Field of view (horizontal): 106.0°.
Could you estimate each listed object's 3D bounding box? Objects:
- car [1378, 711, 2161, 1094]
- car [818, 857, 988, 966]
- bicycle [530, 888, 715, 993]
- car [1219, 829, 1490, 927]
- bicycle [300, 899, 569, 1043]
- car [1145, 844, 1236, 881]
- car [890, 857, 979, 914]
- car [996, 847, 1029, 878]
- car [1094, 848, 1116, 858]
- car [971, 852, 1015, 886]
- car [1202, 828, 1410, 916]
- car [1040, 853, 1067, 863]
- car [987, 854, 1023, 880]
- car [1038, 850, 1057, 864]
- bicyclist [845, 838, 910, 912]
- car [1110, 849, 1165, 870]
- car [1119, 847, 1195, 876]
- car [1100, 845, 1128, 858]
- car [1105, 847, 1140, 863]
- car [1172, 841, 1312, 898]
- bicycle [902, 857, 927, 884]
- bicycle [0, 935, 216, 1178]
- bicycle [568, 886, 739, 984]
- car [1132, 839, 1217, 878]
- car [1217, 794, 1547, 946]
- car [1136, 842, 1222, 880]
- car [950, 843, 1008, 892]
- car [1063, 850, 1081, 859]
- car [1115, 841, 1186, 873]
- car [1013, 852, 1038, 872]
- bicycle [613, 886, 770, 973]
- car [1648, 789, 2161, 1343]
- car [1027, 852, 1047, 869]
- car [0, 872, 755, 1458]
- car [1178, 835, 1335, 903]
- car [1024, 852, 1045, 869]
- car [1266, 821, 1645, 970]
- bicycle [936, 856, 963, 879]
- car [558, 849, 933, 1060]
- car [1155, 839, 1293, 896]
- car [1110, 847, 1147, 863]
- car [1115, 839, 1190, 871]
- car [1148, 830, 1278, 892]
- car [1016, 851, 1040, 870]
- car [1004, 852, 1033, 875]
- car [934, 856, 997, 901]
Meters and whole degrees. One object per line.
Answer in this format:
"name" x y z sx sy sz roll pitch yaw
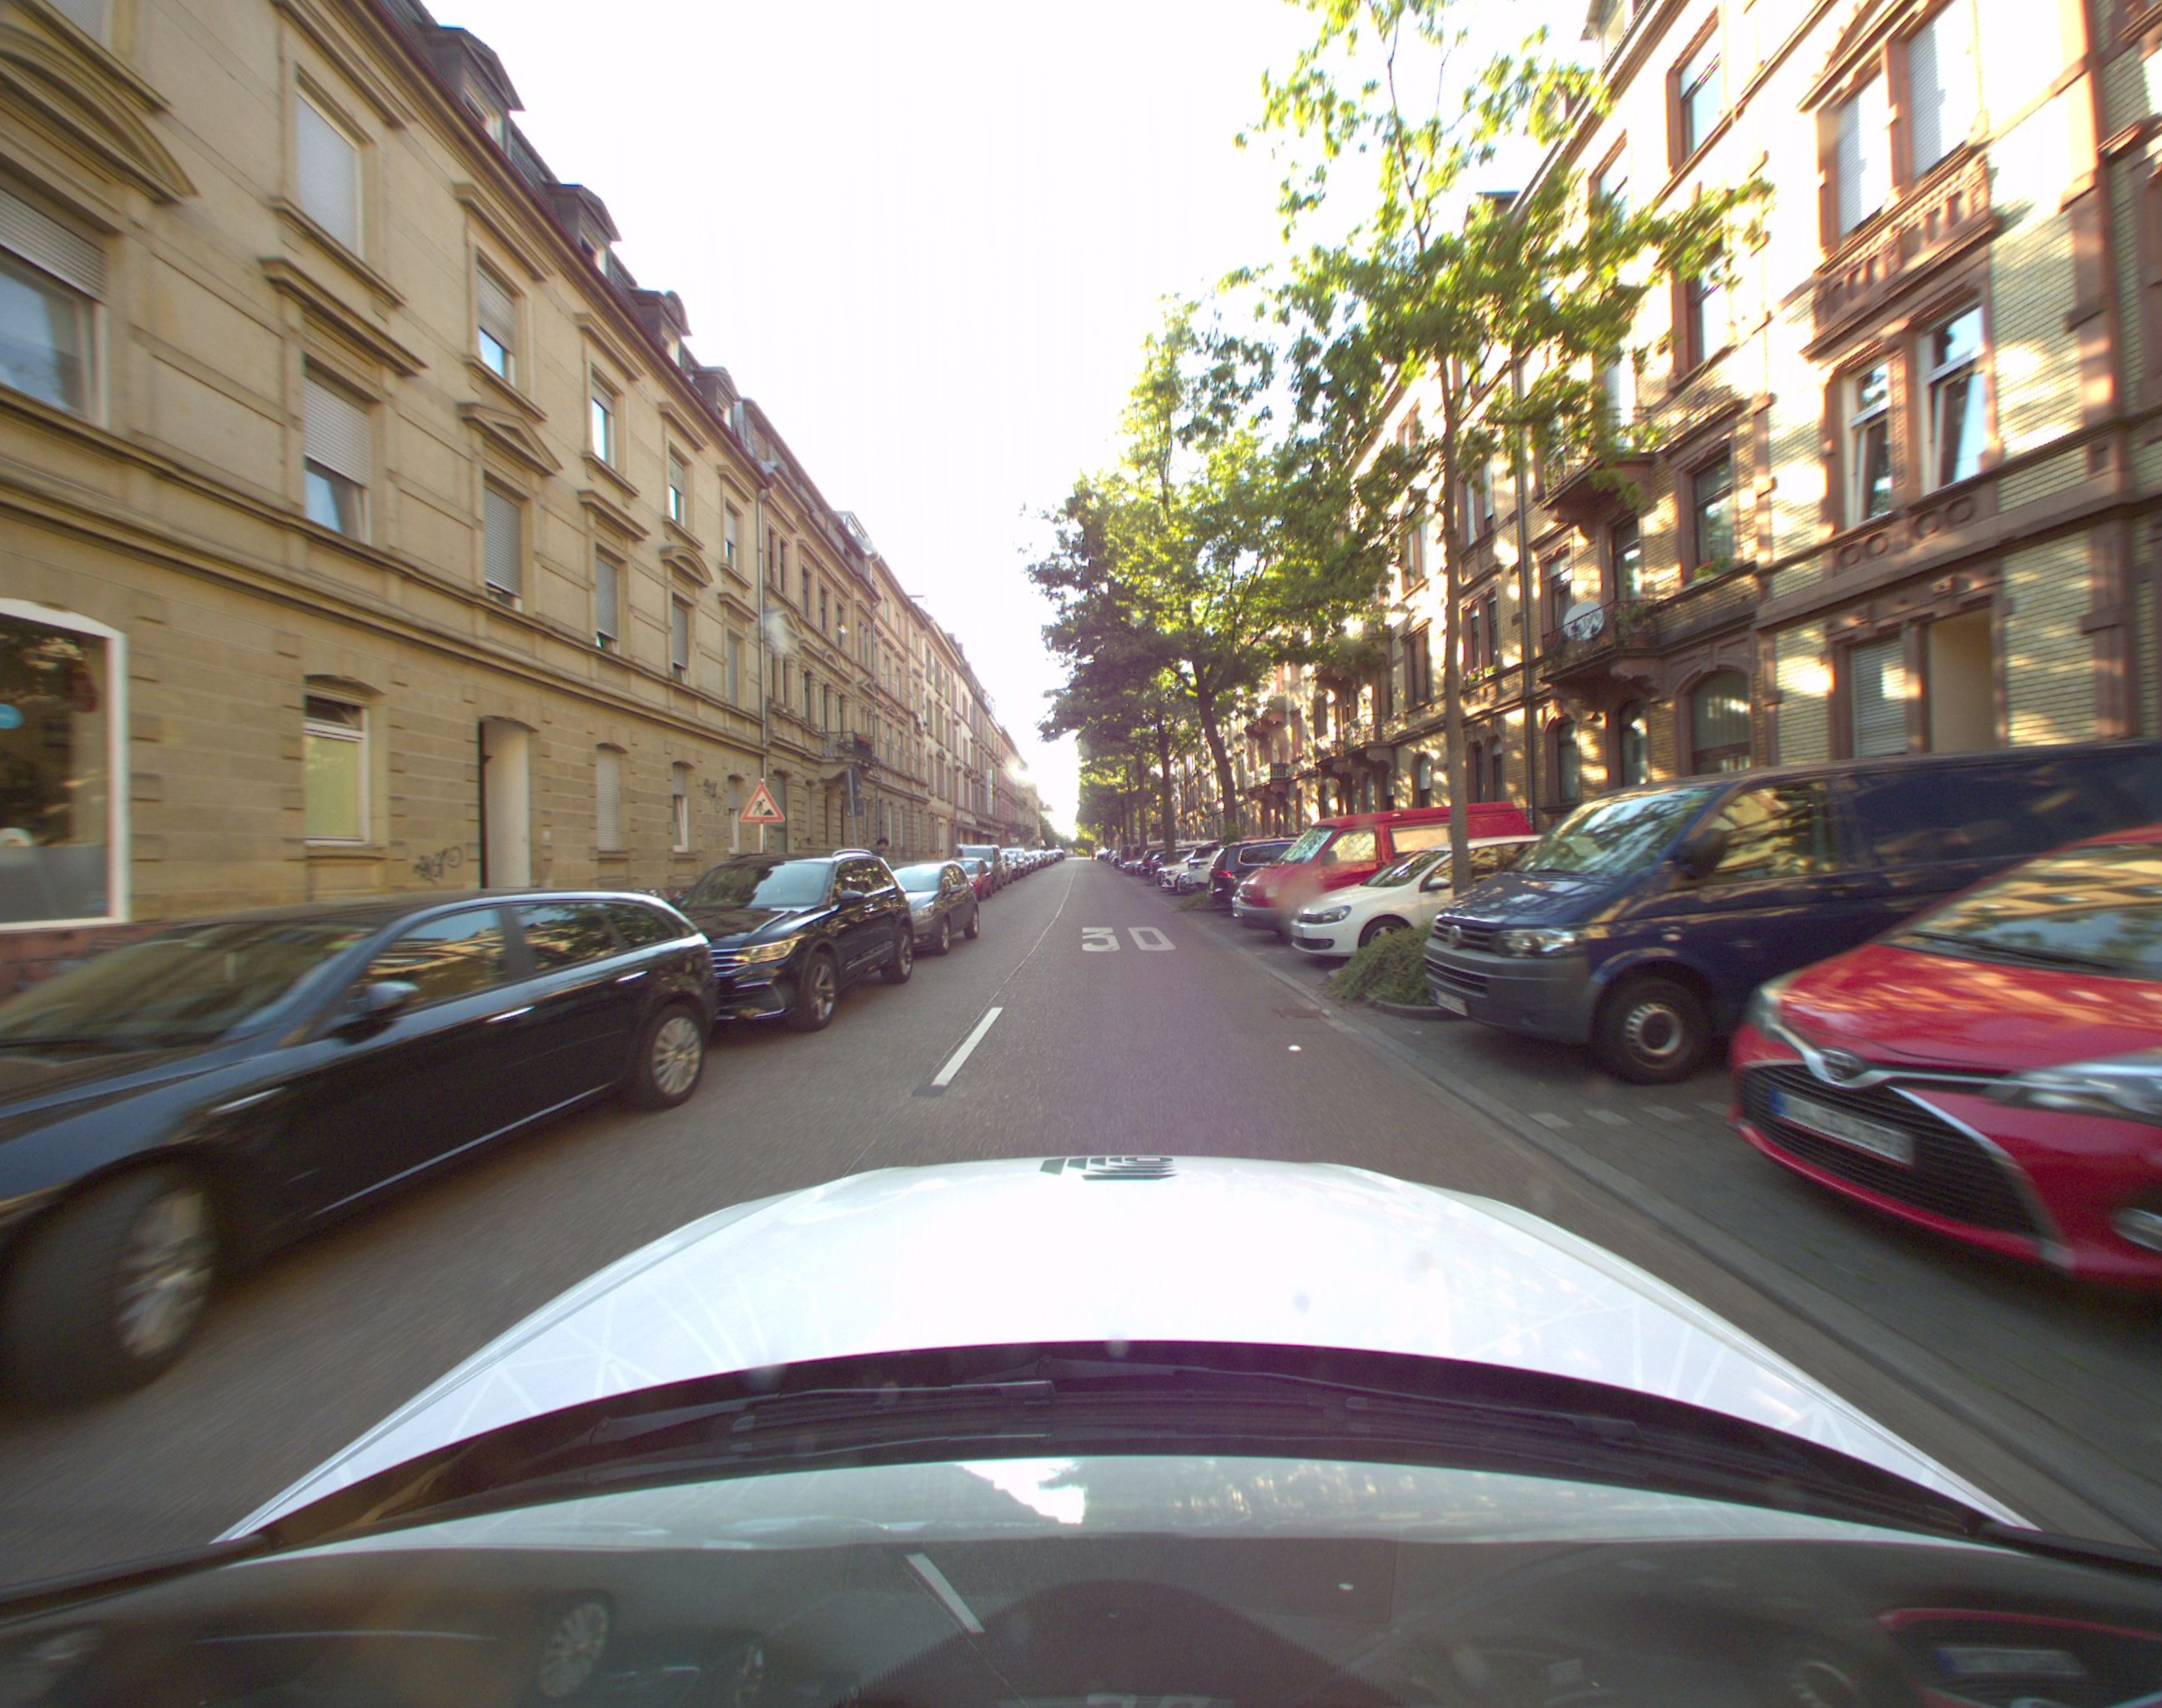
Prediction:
"car" 5.069 0.274 5.996 5.007 2.215 1.991 -2 -1 -1
"car" -2.850 0.853 13.990 1.751 1.501 4.063 -3 0 3
"bicycle" -5.406 0.993 9.729 1.875 1.128 0.524 0 -1 -23
"car" 5.213 0.453 16.025 4.657 1.514 1.879 -4 0 1
"bicycle" -5.392 0.964 6.844 1.860 1.128 0.529 0 -1 2
"car" 5.106 0.391 38.288 3.998 1.467 1.733 -4 0 -1
"car" -4.384 0.891 24.942 1.751 1.501 4.062 -3 0 2
"car" -4.347 0.521 52.404 1.754 1.842 4.527 -2 0 -1
"car" 4.316 -0.156 145.543 3.839 1.573 1.717 -4 0 -1
"car" -4.376 0.694 41.009 1.748 1.608 4.383 0 0 0
"car" 4.981 0.402 18.478 4.169 1.627 1.839 -4 0 3
"car" -4.106 0.601 122.528 1.974 1.486 4.025 -3 -2 32
"car" -4.395 0.724 47.566 1.753 1.467 3.998 0 0 -1
"car" -3.777 0.350 91.963 1.988 1.486 3.998 -2 -2 -1
"bicyclist" -5.208 0.528 20.832 1.214 1.789 0.987 -3 1 -41
"car" 4.194 0.407 60.824 3.842 1.293 1.716 -4 0 -4
"car" 4.501 0.415 48.594 4.214 1.403 1.832 -4 0 -5
"car" 4.676 -0.377 115.243 3.839 1.573 1.717 -4 0 -1
"car" 4.943 0.099 97.504 3.848 1.573 1.713 -4 0 -9
"car" 5.017 0.481 25.782 3.999 1.434 1.794 -4 0 -1
"bicycle" -8.395 0.814 41.165 0.738 1.255 2.826 -1 0 -1
"bicycle" -5.704 1.013 4.241 1.860 1.128 0.529 0 -1 2
"bicycle" -5.368 0.989 10.338 1.875 1.128 0.524 0 -1 -23
"car" 4.962 0.236 43.520 4.209 1.776 1.834 -4 0 -2
"car" 4.807 0.243 13.447 4.665 2.033 1.876 -4 0 -4
"car" 4.873 0.332 40.730 3.998 1.607 1.733 -4 0 -1
"car" -4.334 0.539 35.213 1.826 1.943 5.259 0 0 0
"car" -2.044 0.095 191.358 3.965 1.859 1.755 -1 0 8
"car" 4.624 0.187 54.234 4.235 1.795 1.823 -4 0 -20
"car" -4.309 0.613 63.556 1.754 1.473 4.057 -2 0 -1
"bicycle" -5.265 1.007 11.054 1.861 1.128 0.528 0 -1 0
"car" 4.840 0.538 3.136 4.092 1.534 1.724 -2 0 0
"car" -4.259 0.610 79.441 1.754 1.473 4.057 -2 0 -1
"car" -3.561 0.897 3.884 1.750 1.451 4.557 -3 0 6
"car" 4.952 0.420 23.329 4.000 1.627 1.804 -4 0 -2
"car" -4.235 0.556 74.677 1.754 1.473 4.057 -2 0 -1
"car" 4.706 0.500 10.692 4.042 1.510 1.878 -4 0 -1
"bicycle" -8.060 0.786 50.189 1.038 1.318 3.999 -1 0 -1
"car" -3.073 0.786 8.689 1.750 1.600 4.556 -3 0 4
"car" 4.864 0.438 28.153 4.332 1.556 1.849 -5 1 -1
"car" 5.401 0.089 92.864 3.848 1.573 1.713 -4 0 -9
"car" 5.042 0.056 57.974 5.041 1.925 1.835 -4 0 -1
"car" 4.918 0.249 30.716 4.434 1.924 1.848 -5 1 -3
"car" -4.397 0.558 68.424 1.754 1.473 4.057 -2 0 -1
"car" -4.347 0.645 57.455 1.754 1.473 4.057 -2 0 -1
"car" -4.099 0.831 29.421 1.586 1.475 3.701 0 0 2
